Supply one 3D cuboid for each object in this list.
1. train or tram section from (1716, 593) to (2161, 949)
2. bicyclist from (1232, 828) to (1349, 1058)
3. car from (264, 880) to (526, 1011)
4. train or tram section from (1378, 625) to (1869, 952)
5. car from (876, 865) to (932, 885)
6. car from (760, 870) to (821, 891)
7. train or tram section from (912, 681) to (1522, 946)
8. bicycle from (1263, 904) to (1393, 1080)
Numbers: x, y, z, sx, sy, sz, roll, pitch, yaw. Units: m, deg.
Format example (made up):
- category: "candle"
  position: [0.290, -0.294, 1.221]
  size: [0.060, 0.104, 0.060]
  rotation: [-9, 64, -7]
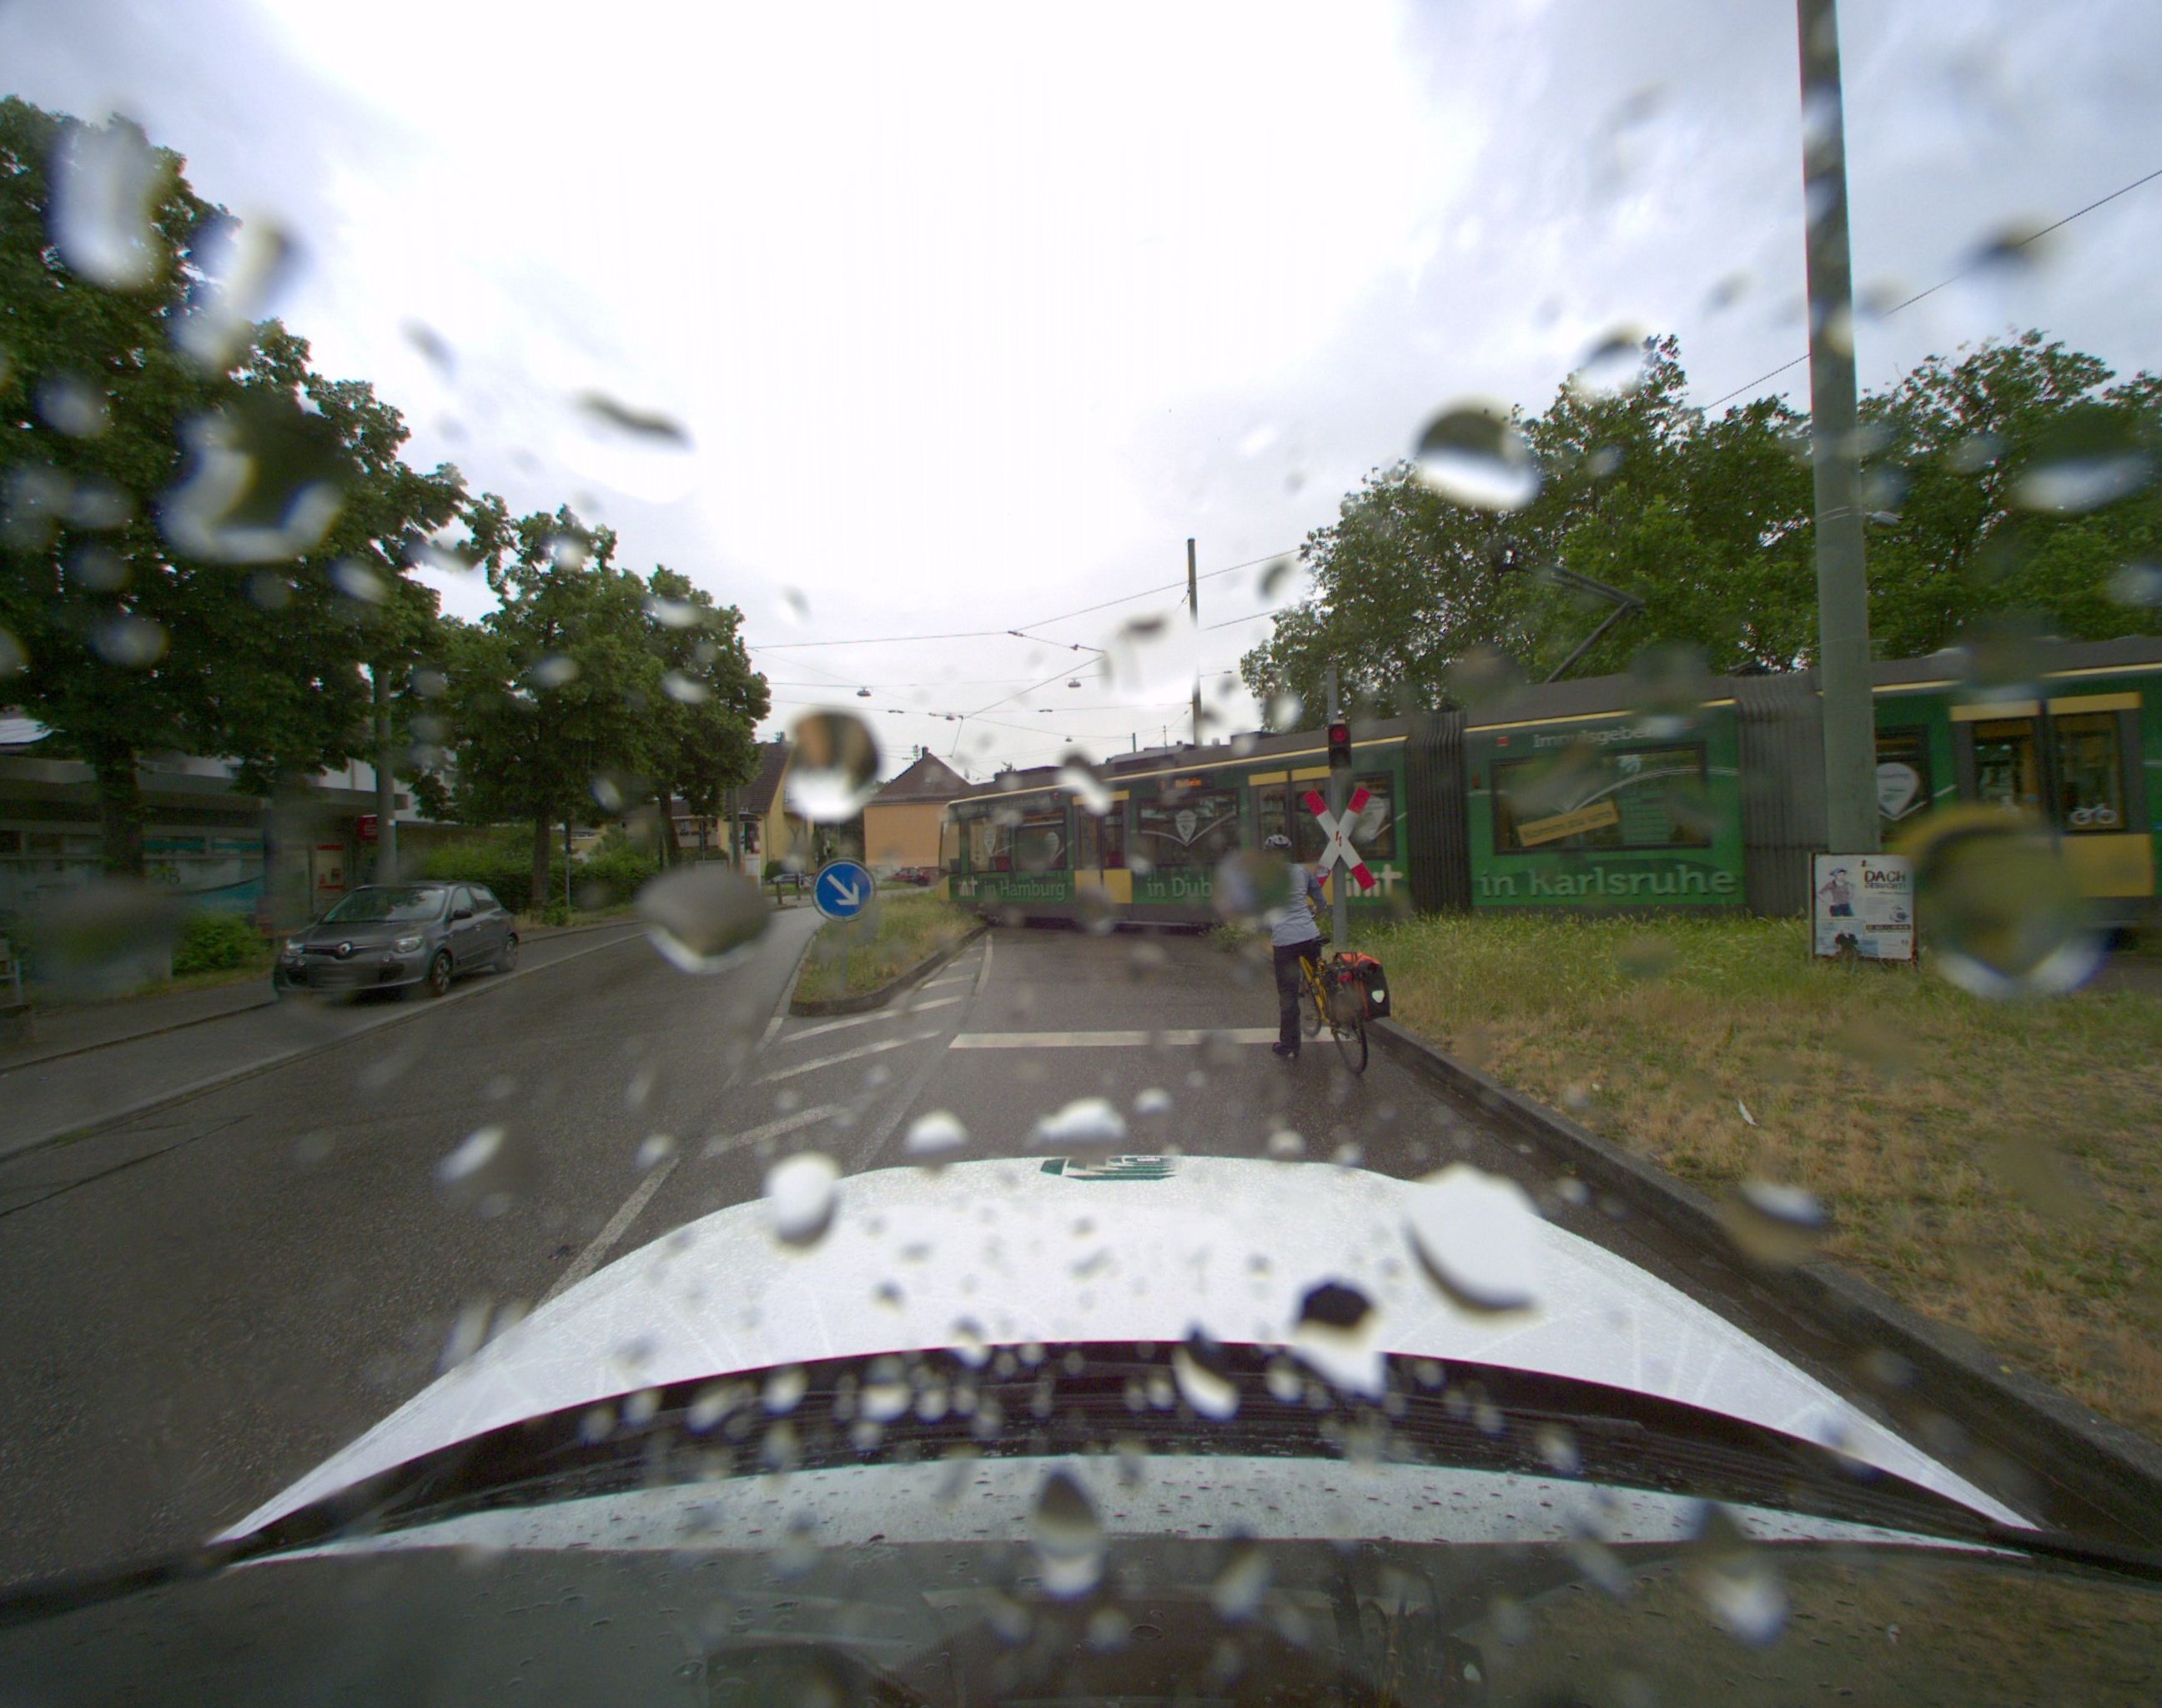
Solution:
- category: "train or tram section"
  position: [14.574, -1.065, 8.622]
  size: [12.068, 3.553, 2.782]
  rotation: [-3, -1, 17]
- category: "bicyclist"
  position: [1.561, 0.634, 6.197]
  size: [0.665, 1.626, 0.853]
  rotation: [0, -1, 1]
- category: "car"
  position: [-9.692, 1.171, 11.884]
  size: [1.621, 1.496, 3.645]
  rotation: [0, -1, -18]
- category: "train or tram section"
  position: [7.053, -0.642, 11.288]
  size: [4.924, 3.553, 2.787]
  rotation: [-3, -1, 31]
- category: "car"
  position: [-13.655, 1.632, 63.079]
  size: [3.979, 1.456, 1.831]
  rotation: [0, -1, -5]
- category: "car"
  position: [-22.100, 2.010, 62.035]
  size: [3.979, 1.456, 1.831]
  rotation: [0, -1, -5]
- category: "train or tram section"
  position: [1.370, -0.361, 16.510]
  size: [2.786, 3.553, 12.970]
  rotation: [-2, -1, -44]
- category: "bicycle"
  position: [1.795, 0.949, 6.143]
  size: [0.444, 1.004, 1.728]
  rotation: [-2, 0, 1]
